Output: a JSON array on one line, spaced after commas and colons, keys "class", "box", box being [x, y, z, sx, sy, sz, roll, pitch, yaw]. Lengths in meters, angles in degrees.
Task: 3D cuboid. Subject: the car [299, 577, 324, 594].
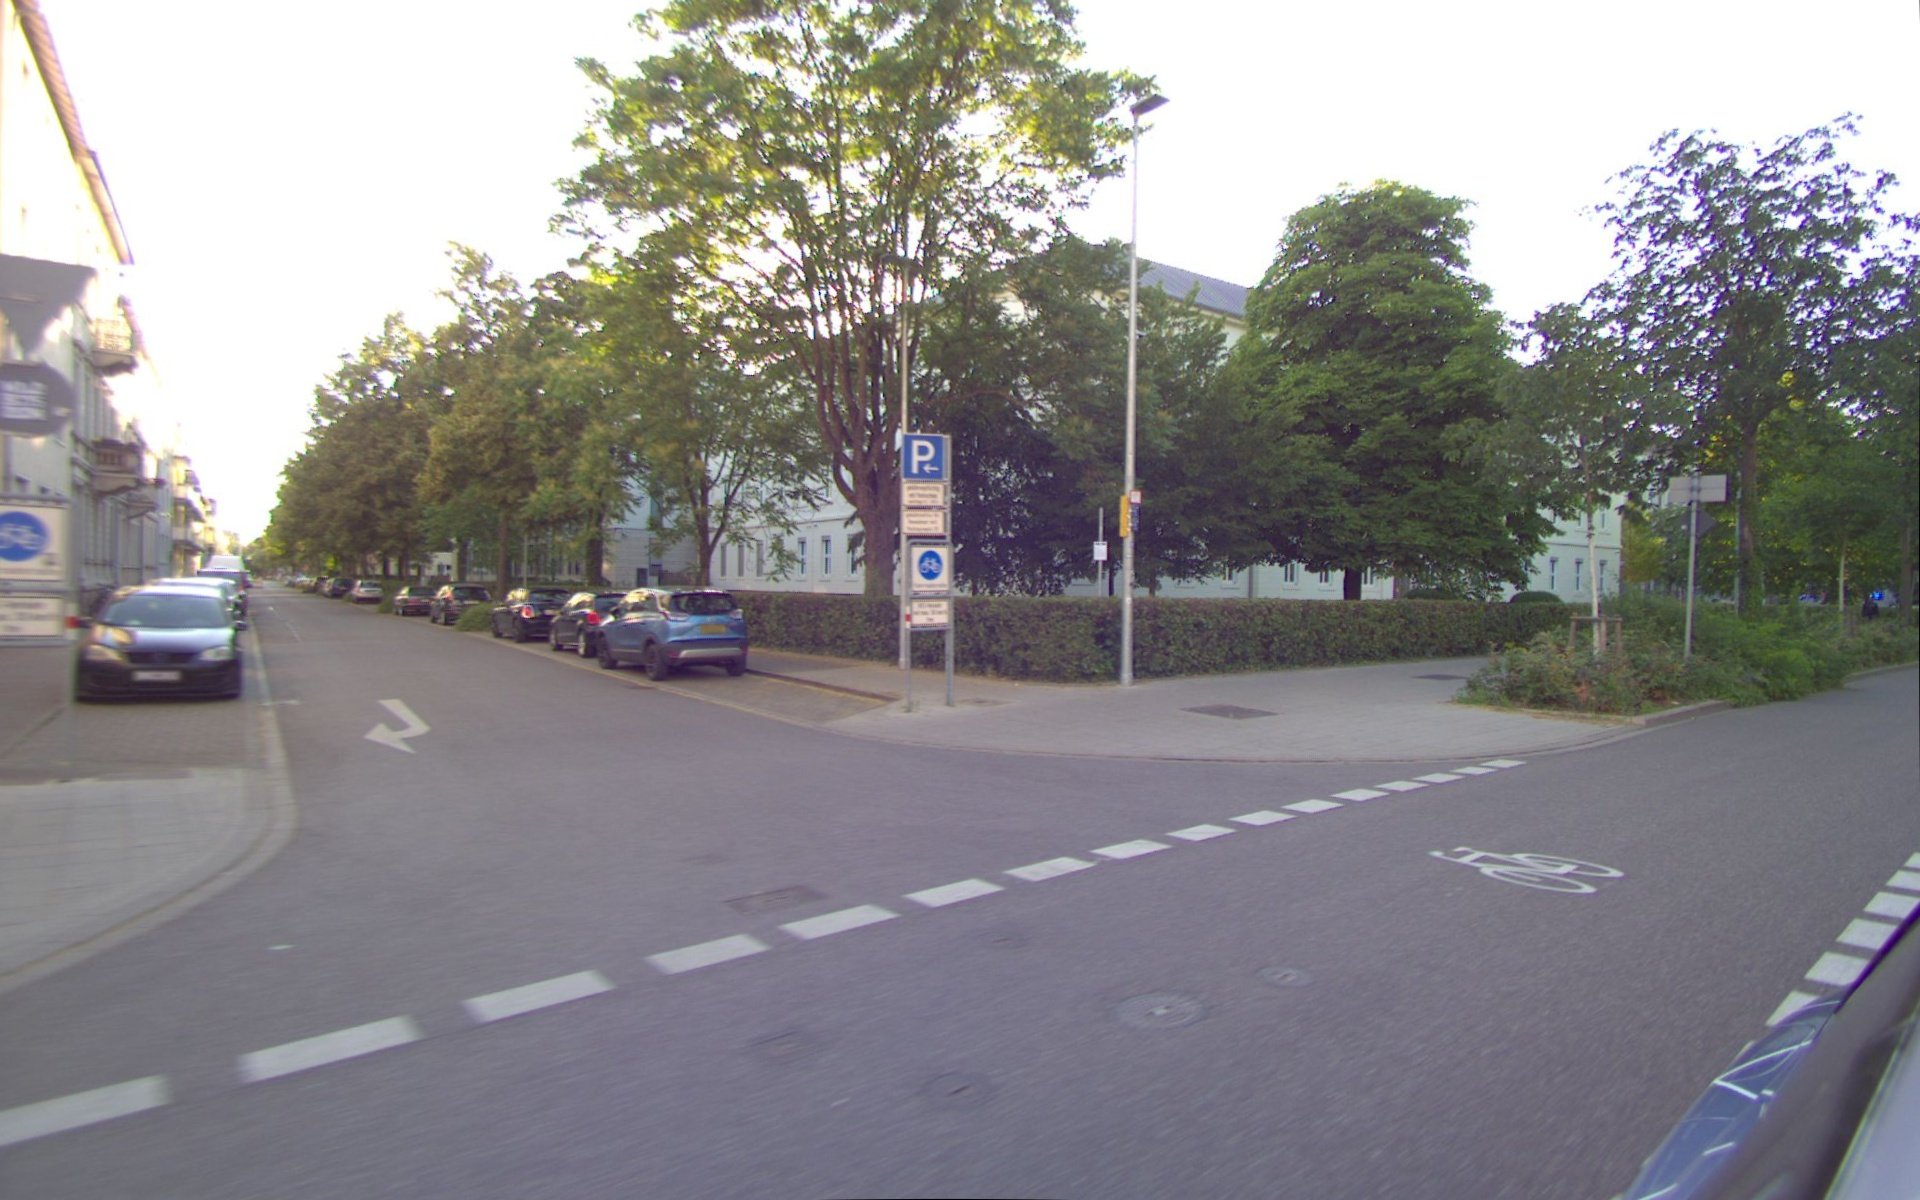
[{"class": "car", "box": [-64.083, -1.455, 99.978, 1.728, 1.555, 3.717, -1, 2, -37]}]

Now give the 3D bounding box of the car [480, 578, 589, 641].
[{"class": "car", "box": [-11.713, 0.196, 27.712, 1.729, 1.555, 3.926, -1, 2, -39]}]

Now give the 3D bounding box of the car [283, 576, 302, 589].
[{"class": "car", "box": [-84.716, -2.239, 128.411, 1.728, 1.556, 3.717, 0, 1, -37]}]

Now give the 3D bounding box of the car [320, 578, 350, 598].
[{"class": "car", "box": [-49.839, -0.999, 80.685, 1.728, 1.555, 3.717, -1, 2, -37]}]

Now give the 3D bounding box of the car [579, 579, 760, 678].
[{"class": "car", "box": [-5.447, 0.420, 18.682, 1.840, 1.600, 3.926, -1, 2, -39]}]

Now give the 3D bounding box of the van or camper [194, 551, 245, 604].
[{"class": "van or camper", "box": [-41.109, -1.248, 56.155, 1.975, 2.784, 5.197, 2, 0, -39]}]

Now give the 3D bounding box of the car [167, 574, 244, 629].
[{"class": "car", "box": [-24.259, 0.033, 32.487, 1.804, 1.644, 3.996, 2, 0, -39]}]

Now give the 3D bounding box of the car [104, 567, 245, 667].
[{"class": "car", "box": [-14.437, 0.270, 18.791, 1.803, 1.644, 4.000, 2, 0, -35]}]

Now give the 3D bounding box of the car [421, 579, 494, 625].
[{"class": "car", "box": [-18.210, 0.026, 36.604, 1.728, 1.555, 3.717, -1, 2, -37]}]

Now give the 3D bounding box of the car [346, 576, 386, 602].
[{"class": "car", "box": [-37.504, -0.740, 63.829, 1.728, 1.555, 3.717, -1, 2, -37]}]

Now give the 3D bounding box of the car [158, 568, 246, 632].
[{"class": "car", "box": [-21.489, -0.018, 28.640, 1.805, 1.644, 3.996, 2, 0, -39]}]

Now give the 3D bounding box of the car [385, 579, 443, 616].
[{"class": "car", "box": [-24.460, -0.170, 45.299, 1.728, 1.555, 3.717, -1, 2, -37]}]

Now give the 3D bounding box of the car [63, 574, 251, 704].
[{"class": "car", "box": [-11.272, 0.460, 14.366, 1.803, 1.576, 3.998, 2, 0, -37]}]

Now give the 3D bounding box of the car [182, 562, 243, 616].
[{"class": "car", "box": [-30.749, -0.468, 41.606, 1.804, 2.066, 3.996, 2, 0, -39]}]

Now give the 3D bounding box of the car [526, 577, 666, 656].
[{"class": "car", "box": [-8.462, 0.297, 23.350, 1.840, 1.640, 3.926, -1, 2, -39]}]
